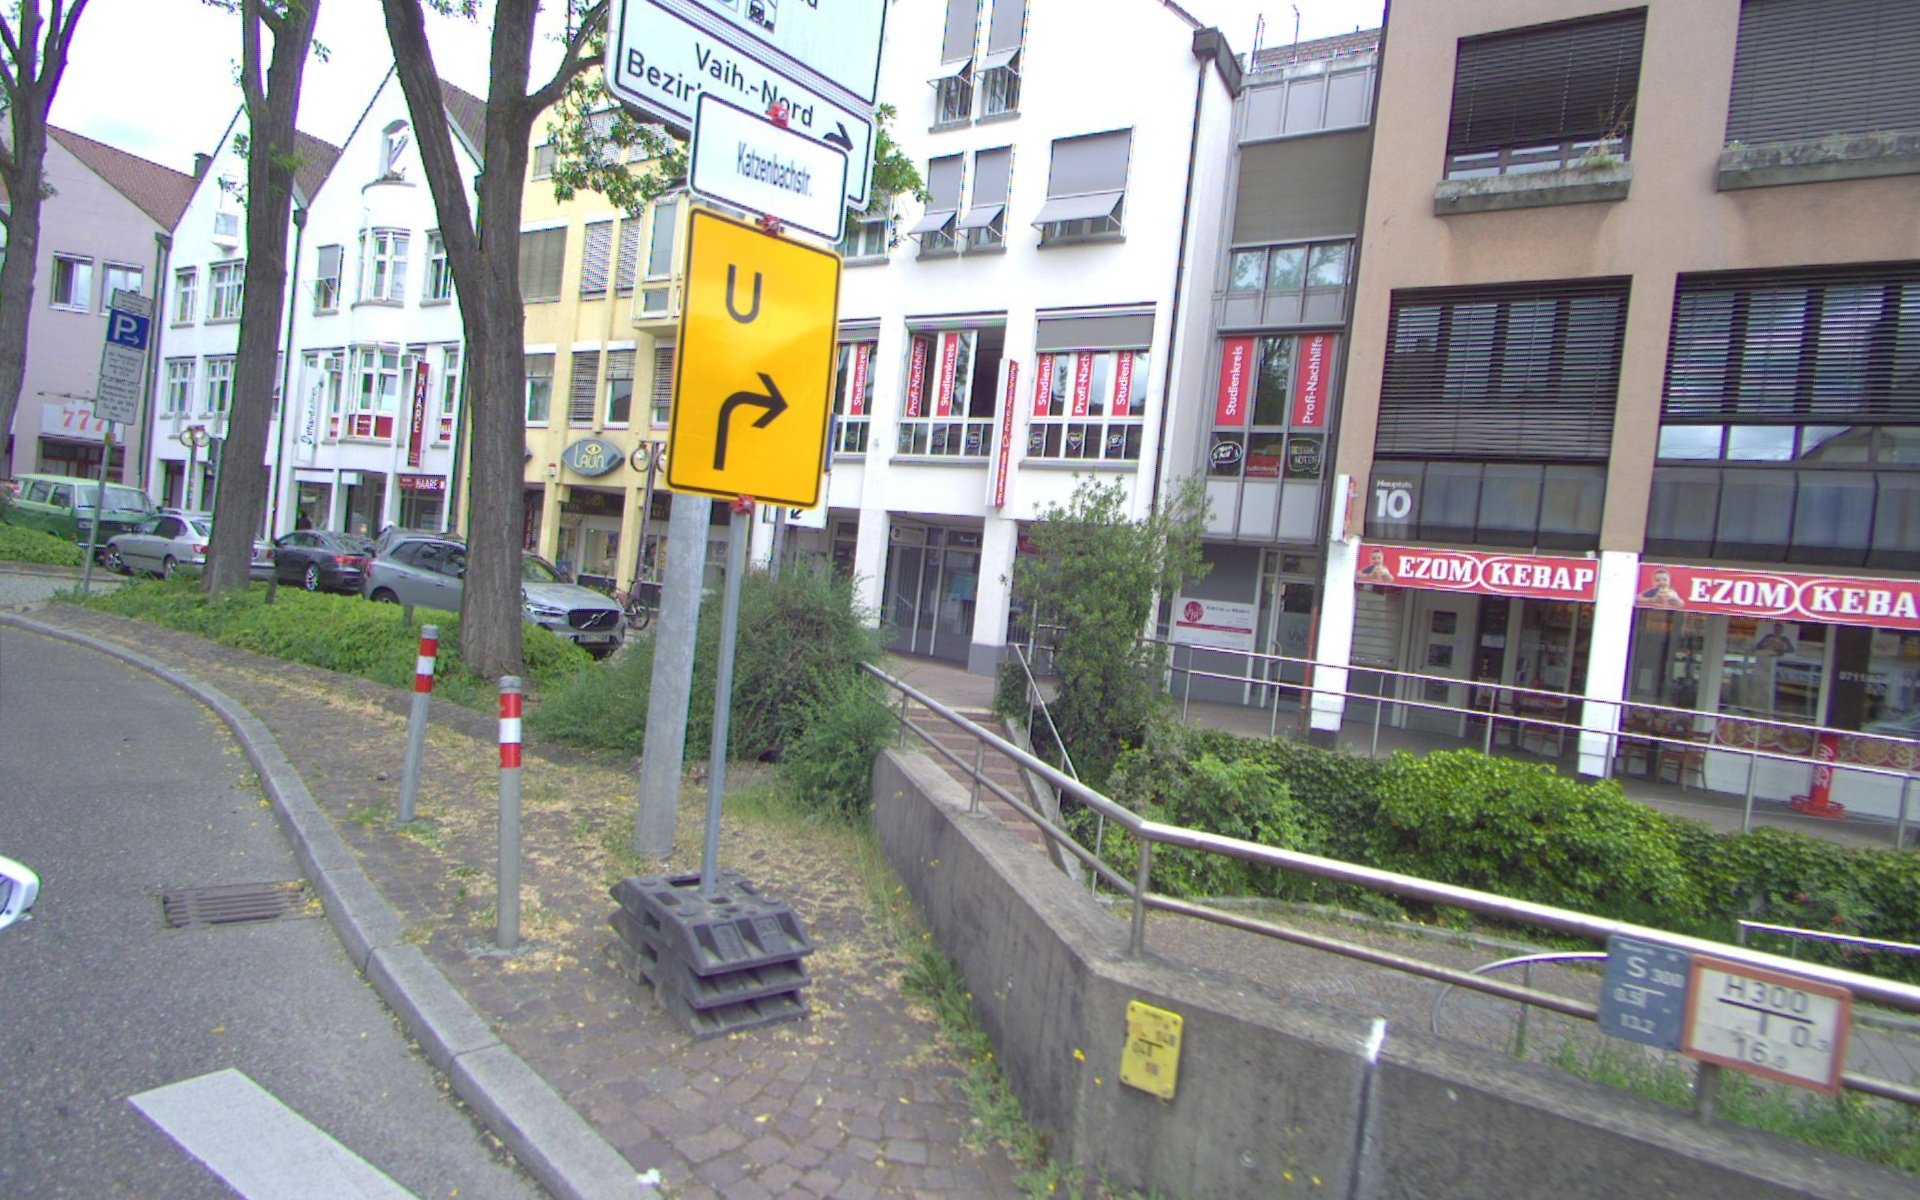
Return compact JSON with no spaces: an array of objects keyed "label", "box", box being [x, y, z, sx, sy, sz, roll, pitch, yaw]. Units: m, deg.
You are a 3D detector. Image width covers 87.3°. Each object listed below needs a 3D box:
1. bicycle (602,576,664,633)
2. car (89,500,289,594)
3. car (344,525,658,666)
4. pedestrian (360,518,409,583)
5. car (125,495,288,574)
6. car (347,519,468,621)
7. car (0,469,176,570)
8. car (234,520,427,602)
[{"label":"bicycle","box":[-7.066,0.090,21.713,1.355,1.058,0.392,7,2,31]},{"label":"car","box":[-16.496,-1.149,21.480,4.344,1.468,1.765,7,1,30]},{"label":"car","box":[-7.305,-0.091,15.926,4.681,1.615,1.997,7,1,28]},{"label":"pedestrian","box":[-16.119,-1.384,28.181,0.805,1.682,0.789,7,3,31]},{"label":"car","box":[-19.800,-1.731,26.403,4.319,1.562,1.798,7,2,30]},{"label":"car","box":[-11.251,-0.682,20.450,1.838,1.692,4.625,6,1,-30]},{"label":"car","box":[-20.960,-1.939,24.005,4.527,1.901,1.882,7,2,30]},{"label":"car","box":[-14.933,-0.933,23.842,4.344,1.394,1.999,7,1,30]}]
